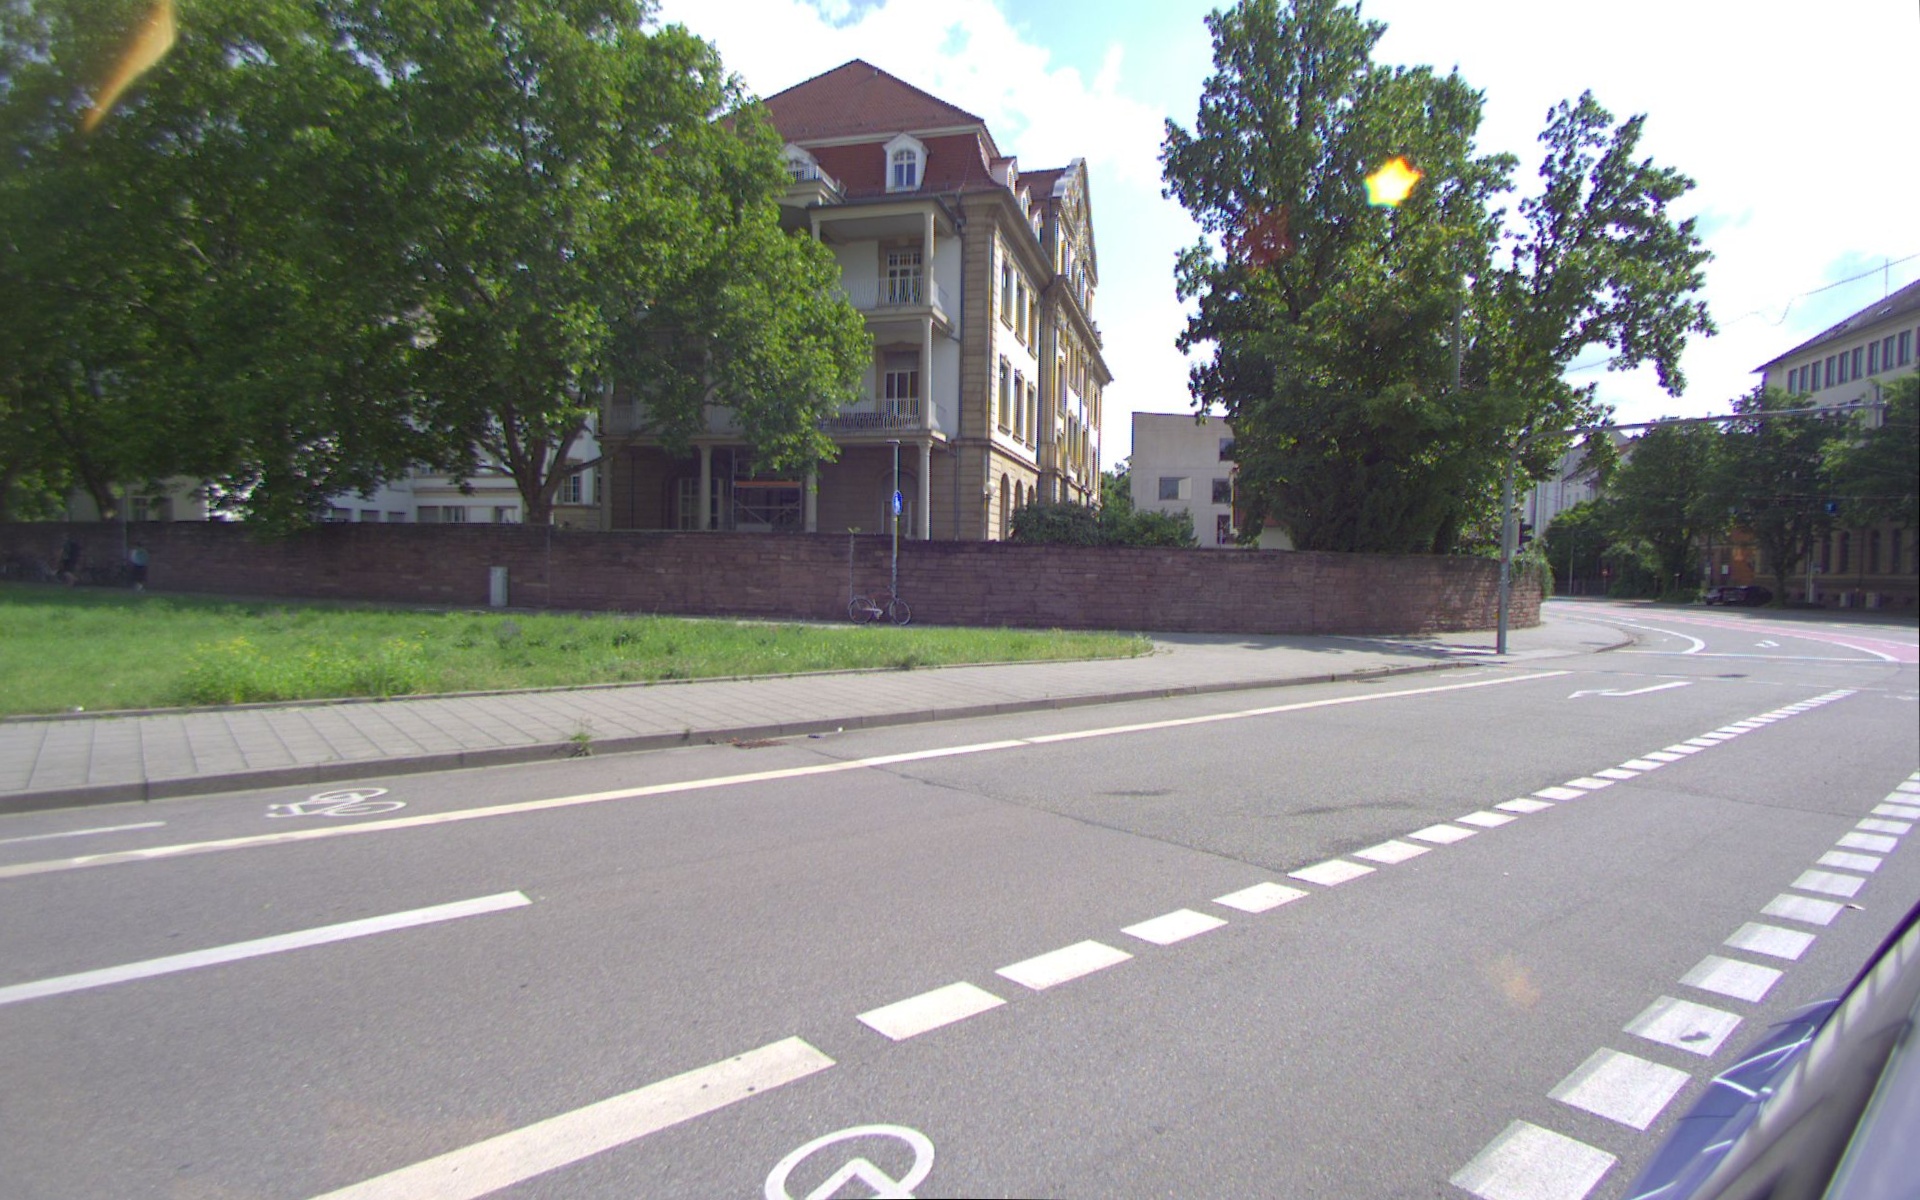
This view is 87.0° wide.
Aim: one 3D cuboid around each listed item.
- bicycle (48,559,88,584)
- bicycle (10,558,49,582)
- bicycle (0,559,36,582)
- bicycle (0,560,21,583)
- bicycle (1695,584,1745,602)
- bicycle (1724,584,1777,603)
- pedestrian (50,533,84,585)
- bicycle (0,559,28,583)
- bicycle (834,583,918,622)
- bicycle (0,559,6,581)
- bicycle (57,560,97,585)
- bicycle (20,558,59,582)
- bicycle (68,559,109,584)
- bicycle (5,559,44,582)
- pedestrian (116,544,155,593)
[{"bbox_3d":[-31.441,-0.992,35.686,0.478,0.859,0.964,2,2,28],"label":"bicycle"},{"bbox_3d":[-34.291,-1.099,37.300,0.478,0.859,0.964,2,2,28],"label":"bicycle"},{"bbox_3d":[-35.352,-1.097,37.930,0.478,0.859,0.964,2,2,28],"label":"bicycle"},{"bbox_3d":[-36.418,-1.094,38.473,0.478,0.859,0.964,2,2,28],"label":"bicycle"},{"bbox_3d":[58.685,-0.549,78.192,1.053,1.221,2.898,-3,4,-32],"label":"bicycle"},{"bbox_3d":[58.538,-0.507,74.934,1.030,1.221,2.898,-3,4,-32],"label":"bicycle"},{"bbox_3d":[-30.302,-1.387,34.340,0.737,1.744,0.656,3,2,31],"label":"pedestrian"},{"bbox_3d":[-35.927,-1.095,38.225,0.478,0.859,0.964,2,2,28],"label":"bicycle"},{"bbox_3d":[-2.123,0.060,25.833,2.023,0.871,0.858,2,4,4],"label":"bicycle"},{"bbox_3d":[-37.600,-1.160,39.120,0.478,0.859,0.964,2,2,28],"label":"bicycle"},{"bbox_3d":[-30.882,-0.972,35.392,0.478,0.859,0.964,2,2,28],"label":"bicycle"},{"bbox_3d":[-33.628,-1.099,36.989,0.478,0.859,0.964,2,2,28],"label":"bicycle"},{"bbox_3d":[-30.255,-0.994,35.134,0.478,0.859,0.964,2,2,28],"label":"bicycle"},{"bbox_3d":[-34.756,-1.098,37.619,0.478,0.859,0.964,2,2,28],"label":"bicycle"},{"bbox_3d":[-26.608,-1.021,32.662,0.716,1.552,0.721,1,2,21],"label":"pedestrian"}]
